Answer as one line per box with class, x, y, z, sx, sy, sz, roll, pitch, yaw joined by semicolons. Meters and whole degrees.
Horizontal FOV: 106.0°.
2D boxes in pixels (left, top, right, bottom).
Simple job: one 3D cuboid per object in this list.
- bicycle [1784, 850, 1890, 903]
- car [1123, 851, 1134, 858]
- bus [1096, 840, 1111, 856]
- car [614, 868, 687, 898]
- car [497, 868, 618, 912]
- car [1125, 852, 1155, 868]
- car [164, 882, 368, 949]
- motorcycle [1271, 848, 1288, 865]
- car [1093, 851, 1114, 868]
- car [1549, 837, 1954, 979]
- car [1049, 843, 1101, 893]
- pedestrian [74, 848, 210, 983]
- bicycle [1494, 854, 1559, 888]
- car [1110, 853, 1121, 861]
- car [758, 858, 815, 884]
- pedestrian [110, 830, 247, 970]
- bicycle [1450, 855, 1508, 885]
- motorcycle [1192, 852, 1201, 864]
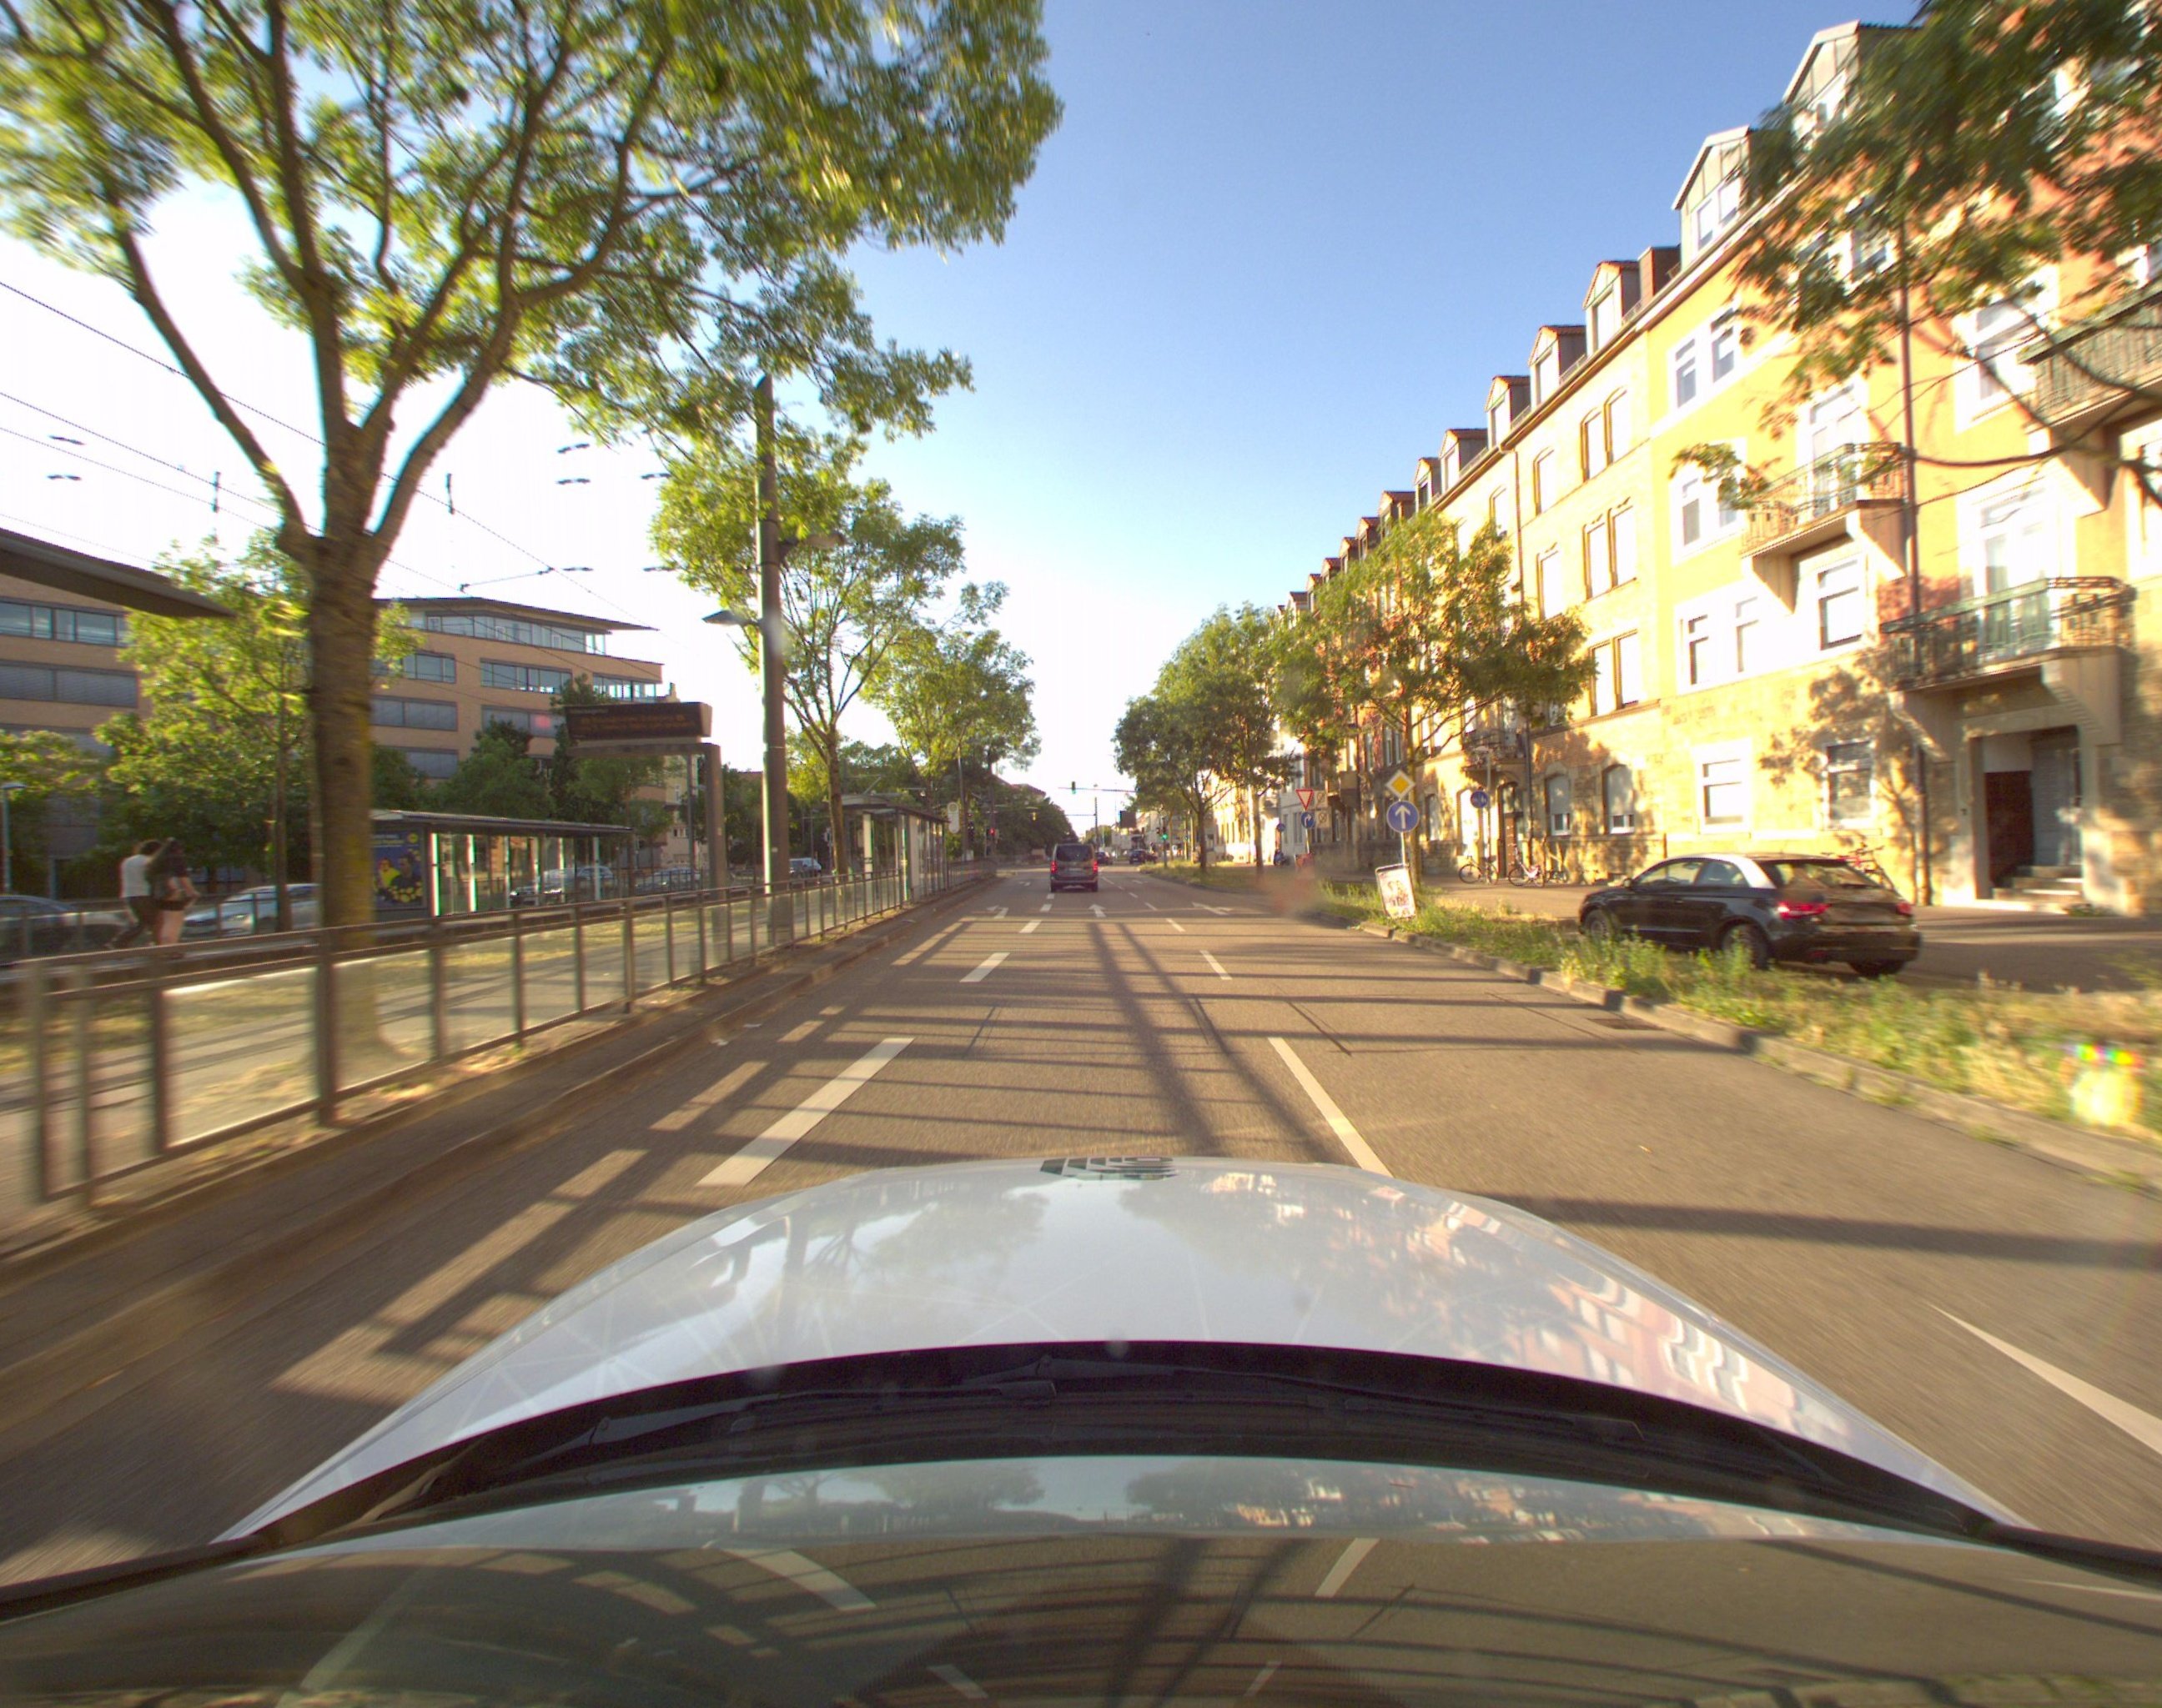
bicycle;15.264;0.429;16.511;0.482;1.005;1.745;-2;0;-1
car;11.351;0.077;194.821;1.990;1.656;4.293;-2;0;-4
bus;6.277;-1.685;231.552;3.284;4.617;9.983;0;0;-5
car;-22.311;1.470;42.406;1.606;1.413;4.430;-2;0;-3
car;-19.116;1.276;29.987;1.790;1.415;4.337;0;0;-2
car;6.069;0.608;83.507;1.976;1.510;4.021;-1;0;22
car;-21.614;1.565;21.831;1.607;1.376;3.747;-5;0;-1
motorcycle;13.774;0.178;56.635;0.552;1.214;2.070;0;0;-3
car;2.254;0.528;80.835;1.837;1.544;3.637;-2;0;5
car;8.196;0.558;10.595;1.699;1.448;4.286;1;0;-1
car;-0.298;0.520;33.029;1.988;1.900;4.295;0;0;-2
pedestrian;-14.752;0.924;12.839;0.767;2.013;1.127;-2;0;0
bicycle;13.555;0.491;24.855;0.731;0.948;2.340;-3;0;2
car;8.149;0.701;194.067;1.990;1.656;4.293;-2;0;-4
car;-19.294;1.068;53.620;1.987;1.552;4.892;-2;0;0
pedestrian;-13.729;0.663;12.426;0.767;2.013;1.127;-2;0;0
bicycle;13.355;0.513;27.403;0.869;0.916;2.084;-3;0;0
motorcycle;9.695;0.326;68.224;0.601;1.044;1.747;-2;0;5
